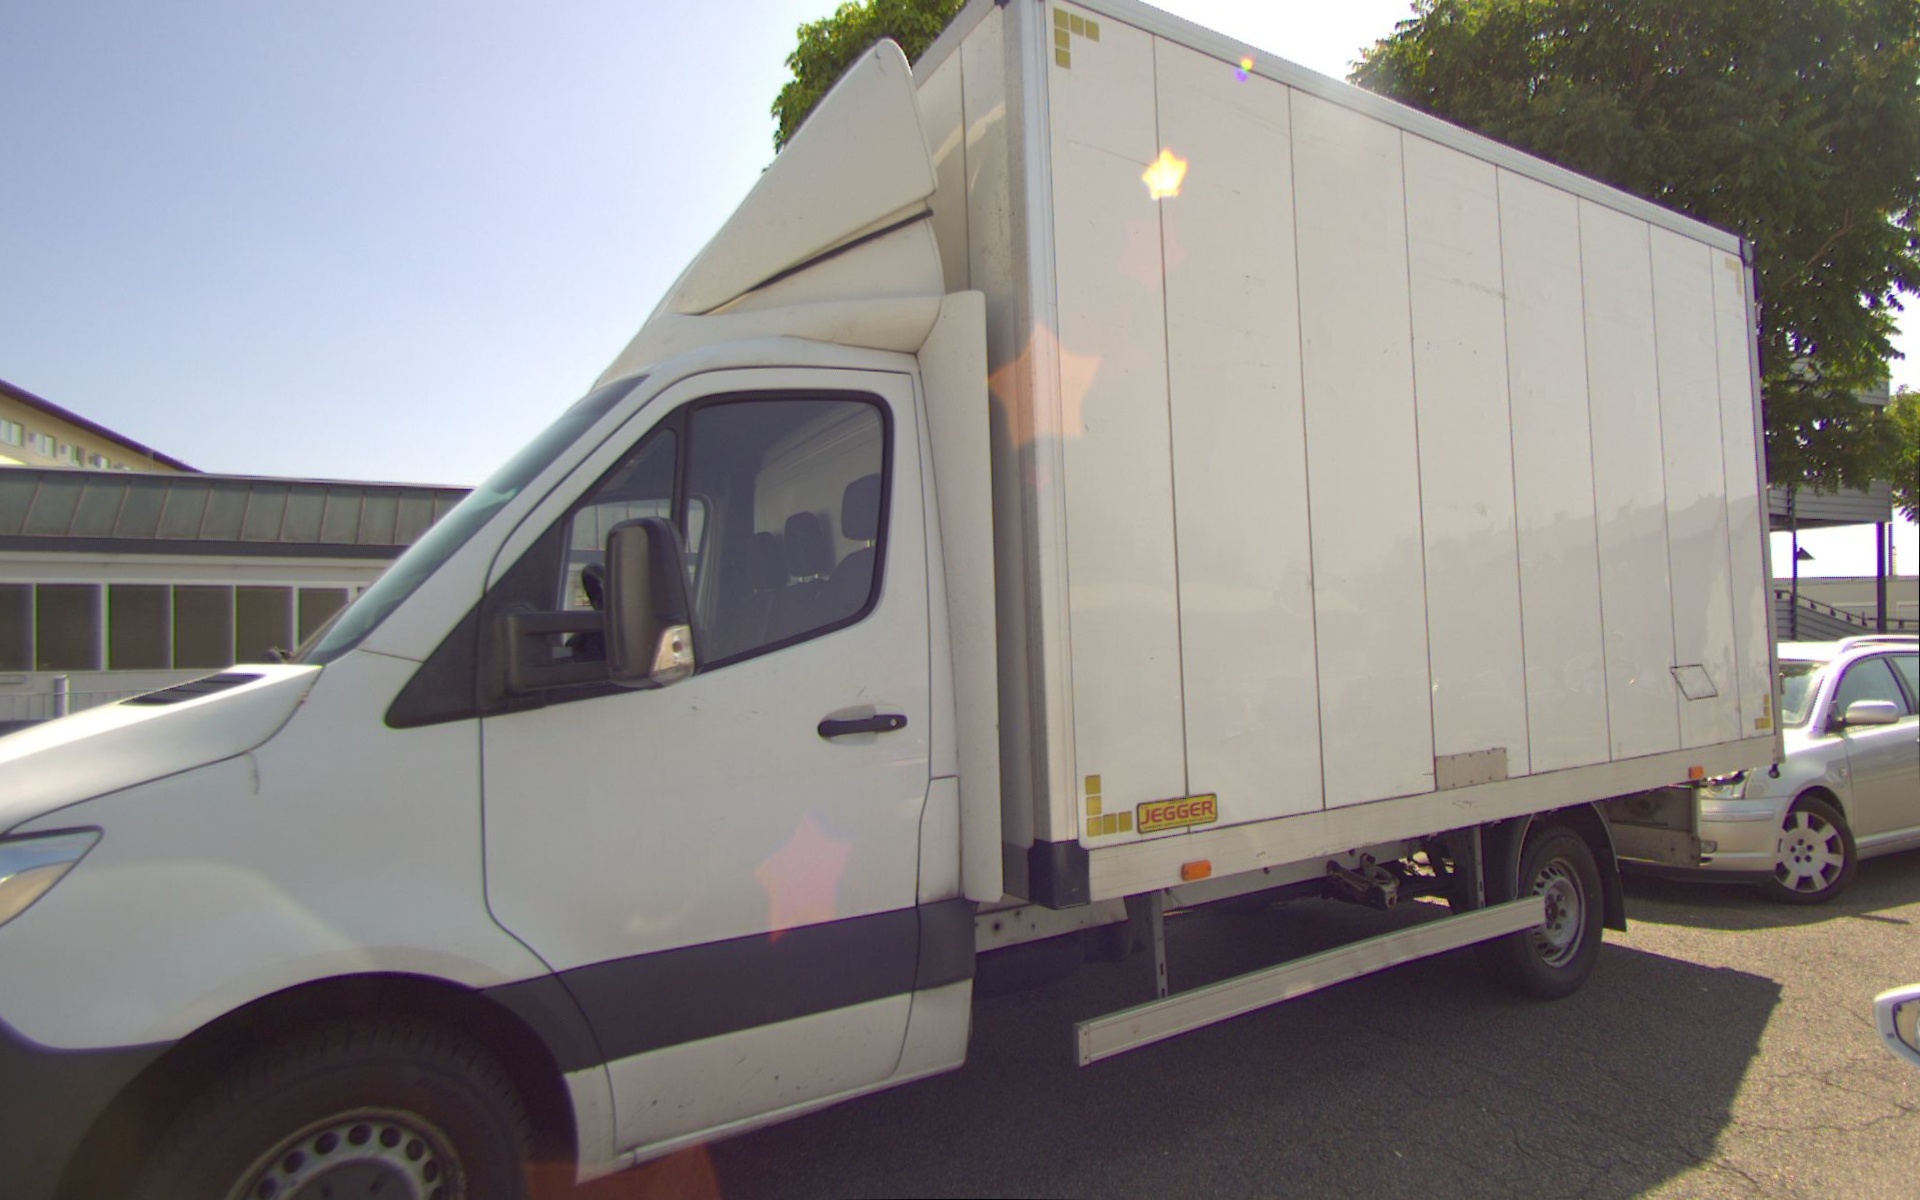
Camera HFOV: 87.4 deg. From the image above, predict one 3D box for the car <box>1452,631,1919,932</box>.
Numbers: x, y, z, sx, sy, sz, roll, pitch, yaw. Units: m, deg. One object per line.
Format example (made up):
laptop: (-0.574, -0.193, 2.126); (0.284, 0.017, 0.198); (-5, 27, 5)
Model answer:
car: (5.585, 1.010, 6.934); (4.255, 1.541, 1.735); (1, -3, -27)

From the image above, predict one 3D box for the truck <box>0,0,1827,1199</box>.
truck: (0.439, -0.083, 4.155); (7.048, 3.410, 2.672); (2, -3, -31)

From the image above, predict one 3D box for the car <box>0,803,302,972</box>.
car: (-11.850, 3.993, 14.230); (3.948, 1.639, 1.987); (2, -2, -26)
